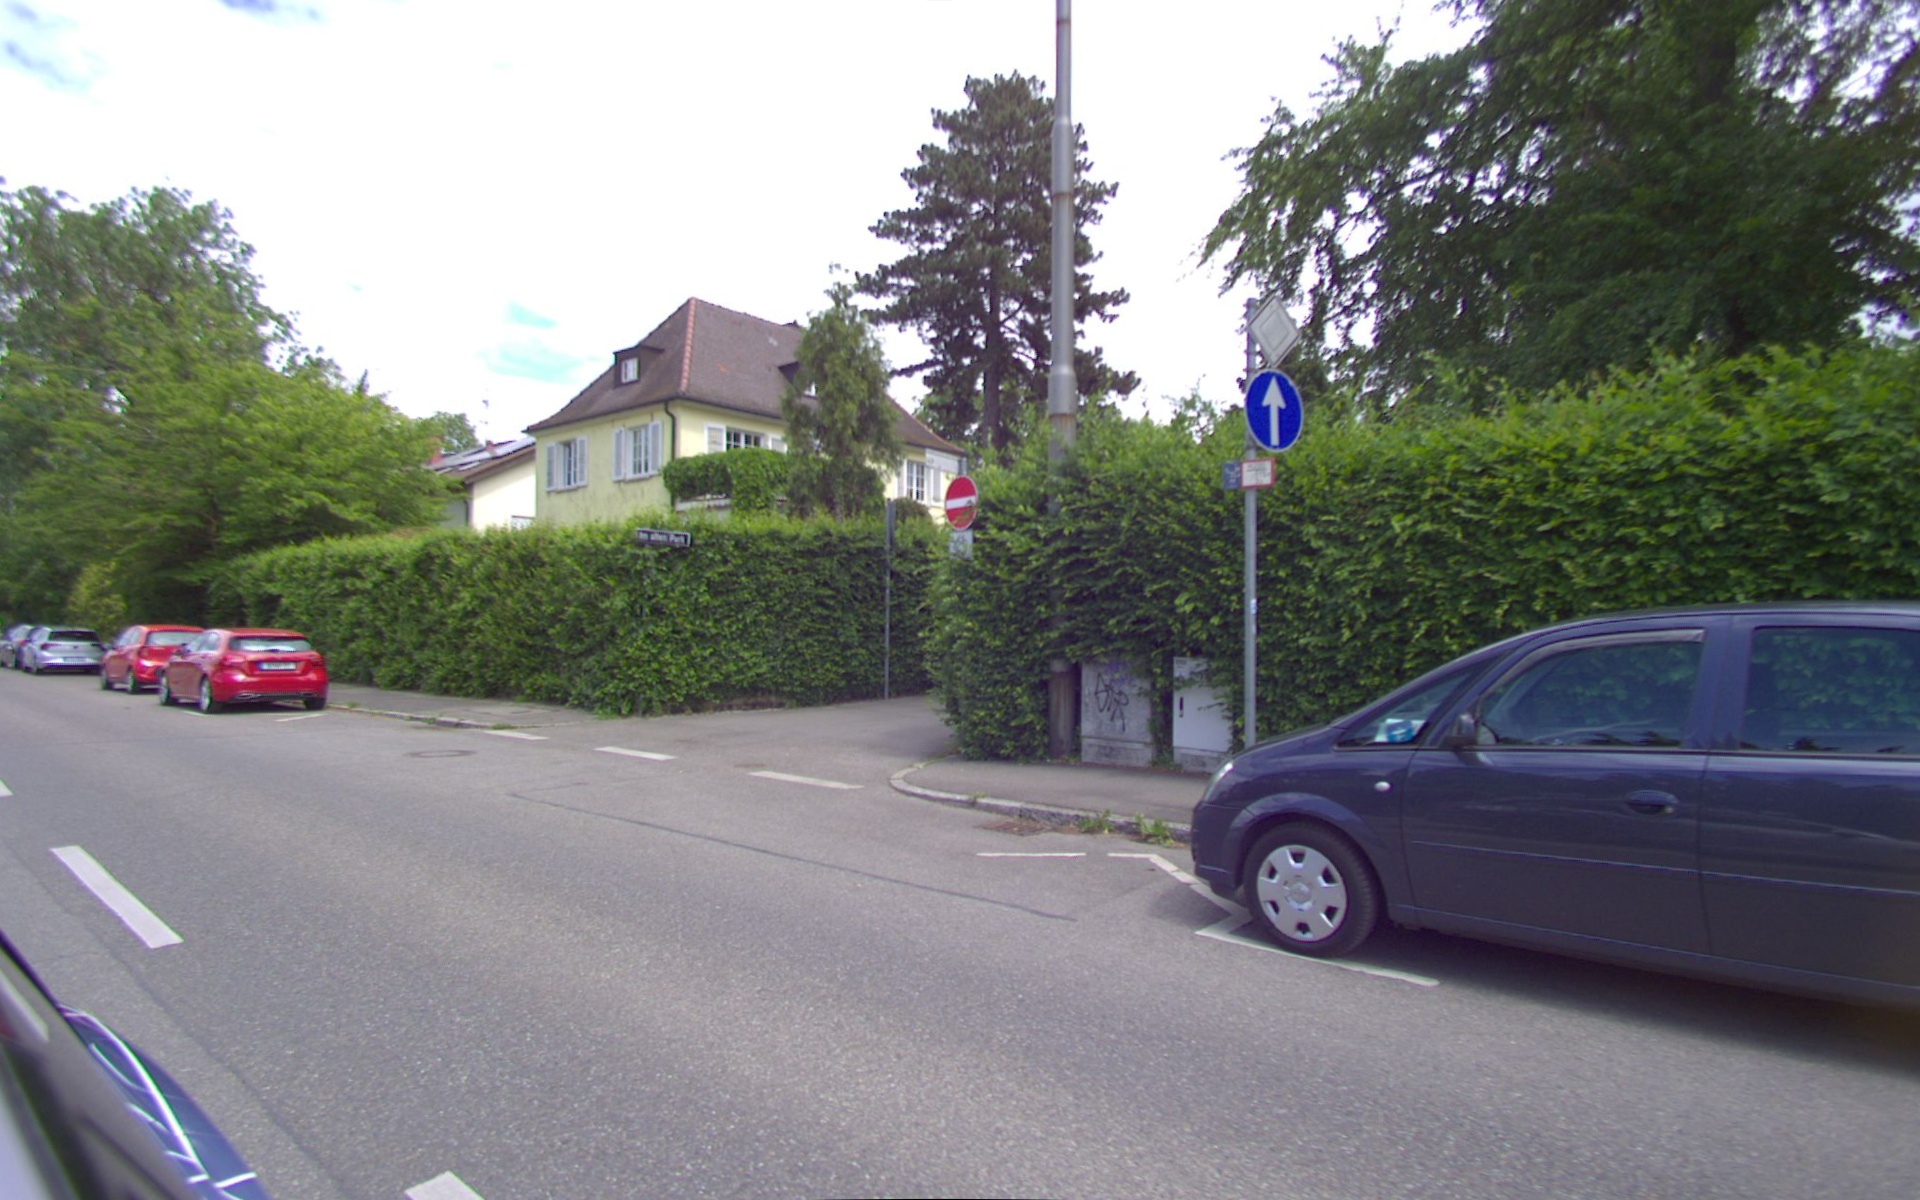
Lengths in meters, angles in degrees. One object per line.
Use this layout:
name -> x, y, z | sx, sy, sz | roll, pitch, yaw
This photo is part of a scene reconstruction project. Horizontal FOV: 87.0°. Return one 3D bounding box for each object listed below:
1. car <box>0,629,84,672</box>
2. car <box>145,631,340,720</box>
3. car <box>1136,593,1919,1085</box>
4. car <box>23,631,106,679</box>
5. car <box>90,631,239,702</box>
car -> -31.694, 1.698, 34.746 | 3.895, 1.413, 1.796 | -2, -2, 39
car -> -12.987, 1.271, 18.234 | 4.063, 1.413, 1.946 | -2, -2, 41
car -> 3.073, 0.792, 4.296 | 4.324, 1.546, 1.739 | -2, -3, 40
car -> -27.540, 1.663, 31.079 | 1.653, 1.381, 3.608 | 4, -4, -45
car -> -17.931, 1.437, 22.775 | 3.744, 1.462, 1.830 | -2, -2, 39
